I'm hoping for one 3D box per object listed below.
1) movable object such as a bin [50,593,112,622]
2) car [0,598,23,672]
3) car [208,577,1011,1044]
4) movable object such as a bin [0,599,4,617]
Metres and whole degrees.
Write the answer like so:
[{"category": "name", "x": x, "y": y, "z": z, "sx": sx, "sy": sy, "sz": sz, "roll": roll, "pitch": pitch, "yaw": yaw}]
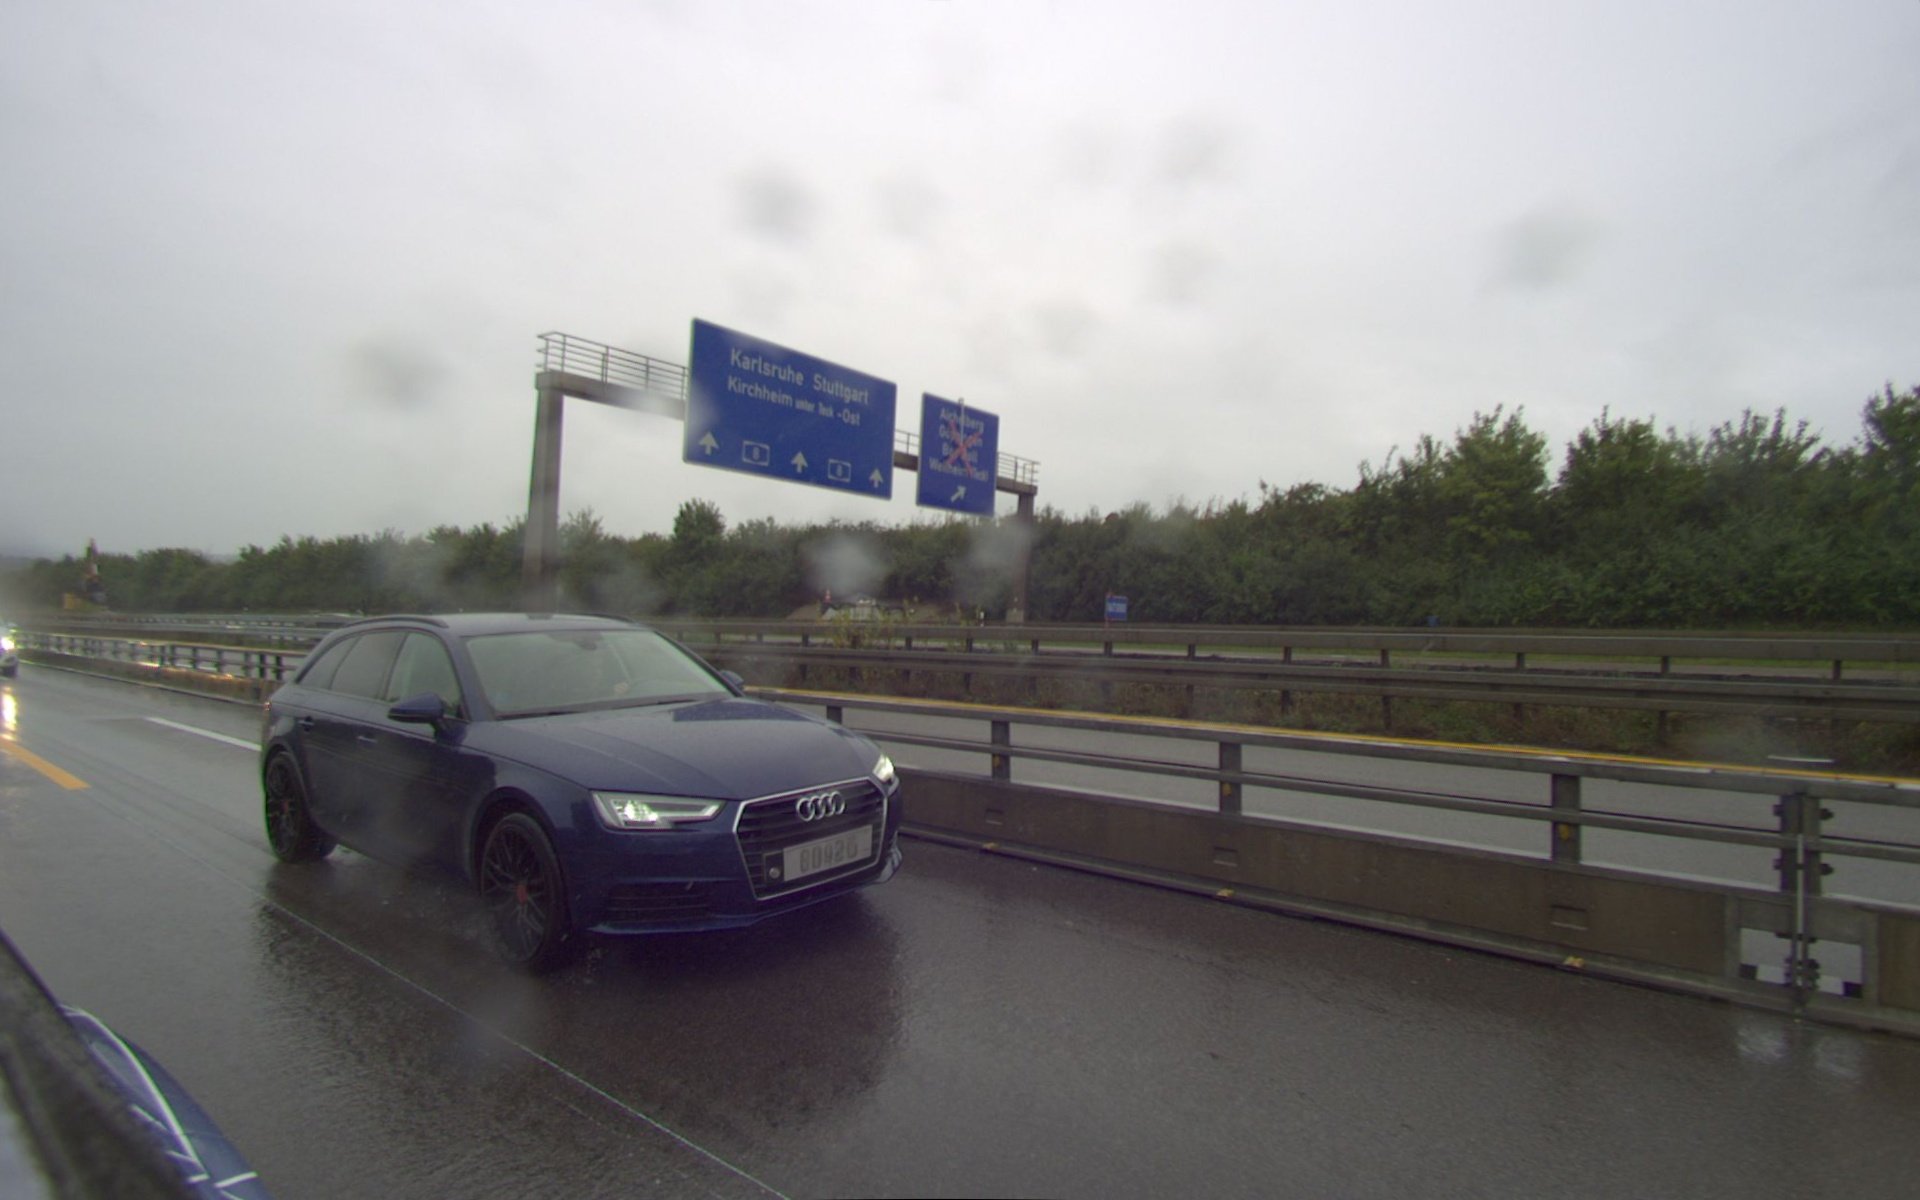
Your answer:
[{"category": "movable object such as a bin", "x": -91.323, "y": 0.763, "z": 105.157, "sx": 6.321, "sy": 2.819, "sz": 3.729, "roll": 0, "pitch": 1, "yaw": 38}, {"category": "car", "x": -22.786, "y": 0.819, "z": 22.829, "sx": 4.306, "sy": 1.608, "sz": 1.953, "roll": -2, "pitch": -1, "yaw": 41}, {"category": "car", "x": -2.171, "y": 0.674, "z": 5.495, "sx": 4.625, "sy": 1.509, "sz": 1.974, "roll": 0, "pitch": 0, "yaw": 39}, {"category": "movable object such as a bin", "x": -125.080, "y": 1.074, "z": 128.997, "sx": 5.083, "sy": 2.312, "sz": 3.413, "roll": 0, "pitch": 1, "yaw": 31}]
